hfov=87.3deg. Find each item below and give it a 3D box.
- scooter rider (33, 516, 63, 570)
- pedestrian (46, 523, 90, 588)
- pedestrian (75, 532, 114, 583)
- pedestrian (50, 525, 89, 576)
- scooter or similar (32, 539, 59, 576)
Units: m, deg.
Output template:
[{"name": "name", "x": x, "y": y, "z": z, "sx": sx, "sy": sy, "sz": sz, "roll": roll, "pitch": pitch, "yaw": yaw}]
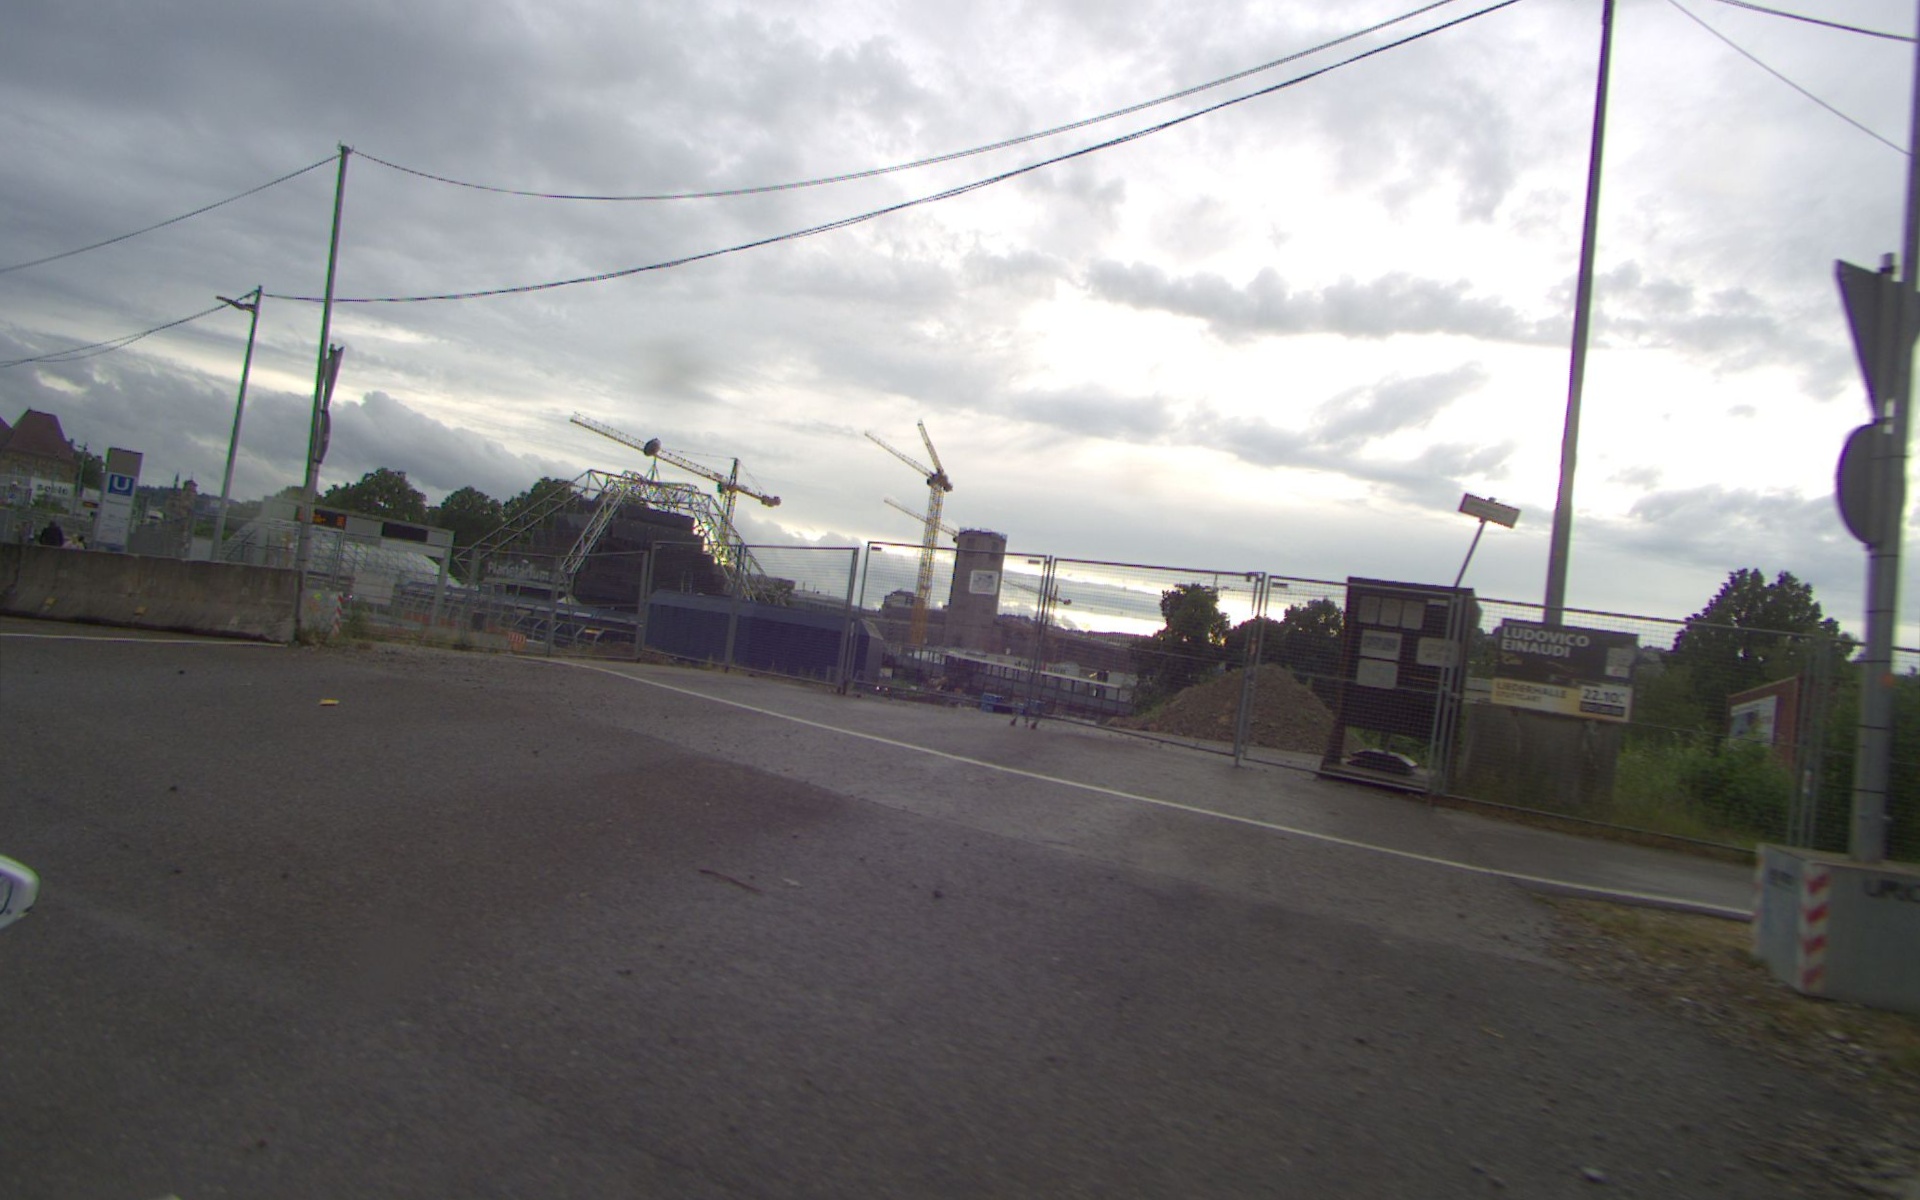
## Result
[{"name": "scooter rider", "x": -31.439, "y": -1.969, "z": 34.695, "sx": 0.519, "sy": 1.775, "sz": 0.692, "roll": 9, "pitch": -2, "yaw": -40}, {"name": "pedestrian", "x": -26.290, "y": -1.322, "z": 29.652, "sx": 0.804, "sy": 1.798, "sz": 0.689, "roll": 5, "pitch": -3, "yaw": 40}, {"name": "pedestrian", "x": -33.379, "y": -1.645, "z": 38.789, "sx": 1.007, "sy": 1.798, "sz": 0.727, "roll": 6, "pitch": -3, "yaw": 35}, {"name": "pedestrian", "x": -33.800, "y": -1.884, "z": 38.198, "sx": 1.007, "sy": 1.798, "sz": 0.690, "roll": 6, "pitch": -3, "yaw": 35}, {"name": "scooter or similar", "x": -31.512, "y": -1.466, "z": 34.685, "sx": 0.489, "sy": 1.193, "sz": 1.084, "roll": 9, "pitch": -2, "yaw": -39}]
